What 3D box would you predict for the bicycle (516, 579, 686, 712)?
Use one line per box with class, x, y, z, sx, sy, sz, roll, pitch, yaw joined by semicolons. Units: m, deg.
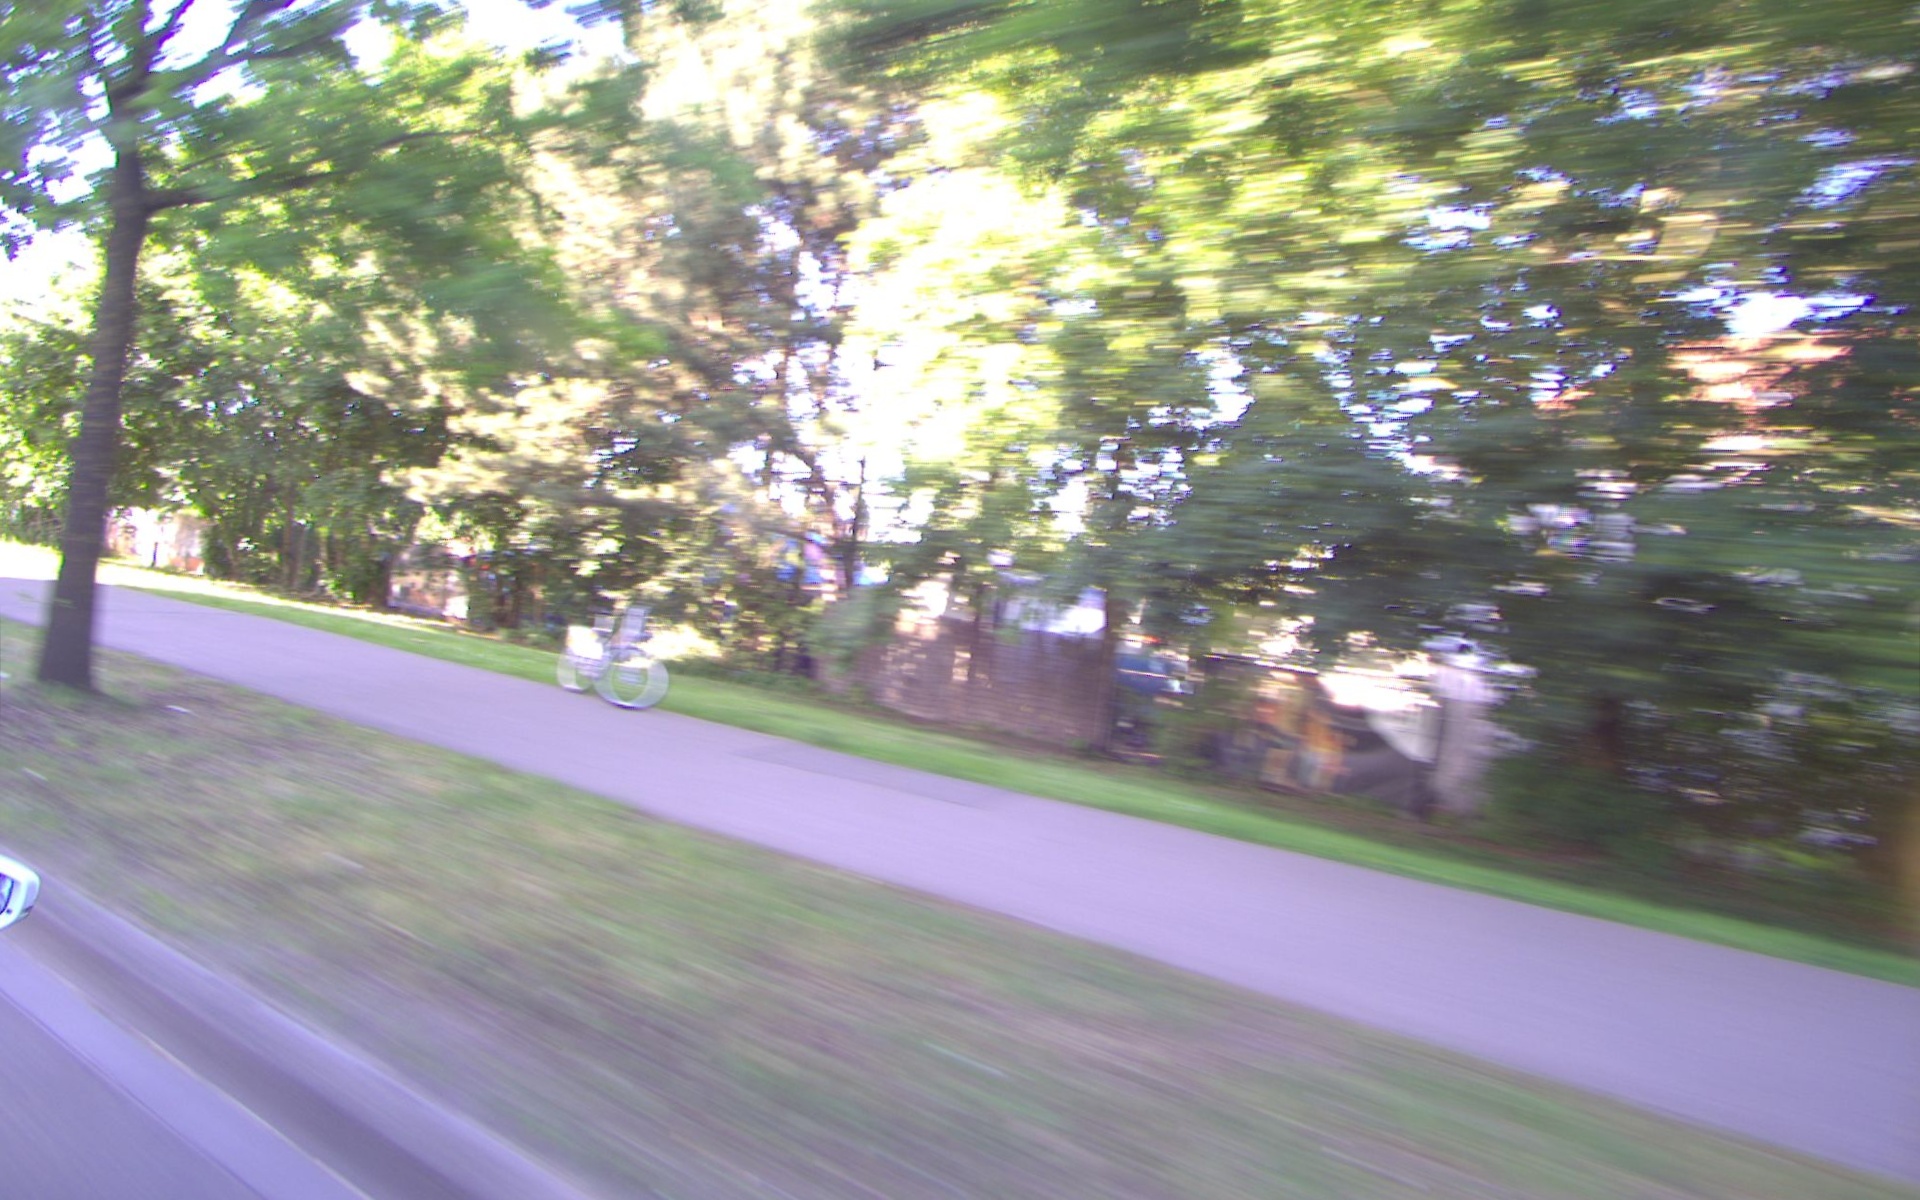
bicycle;-3.724;0.454;10.392;1.683;1.144;0.773;7;-1;38
